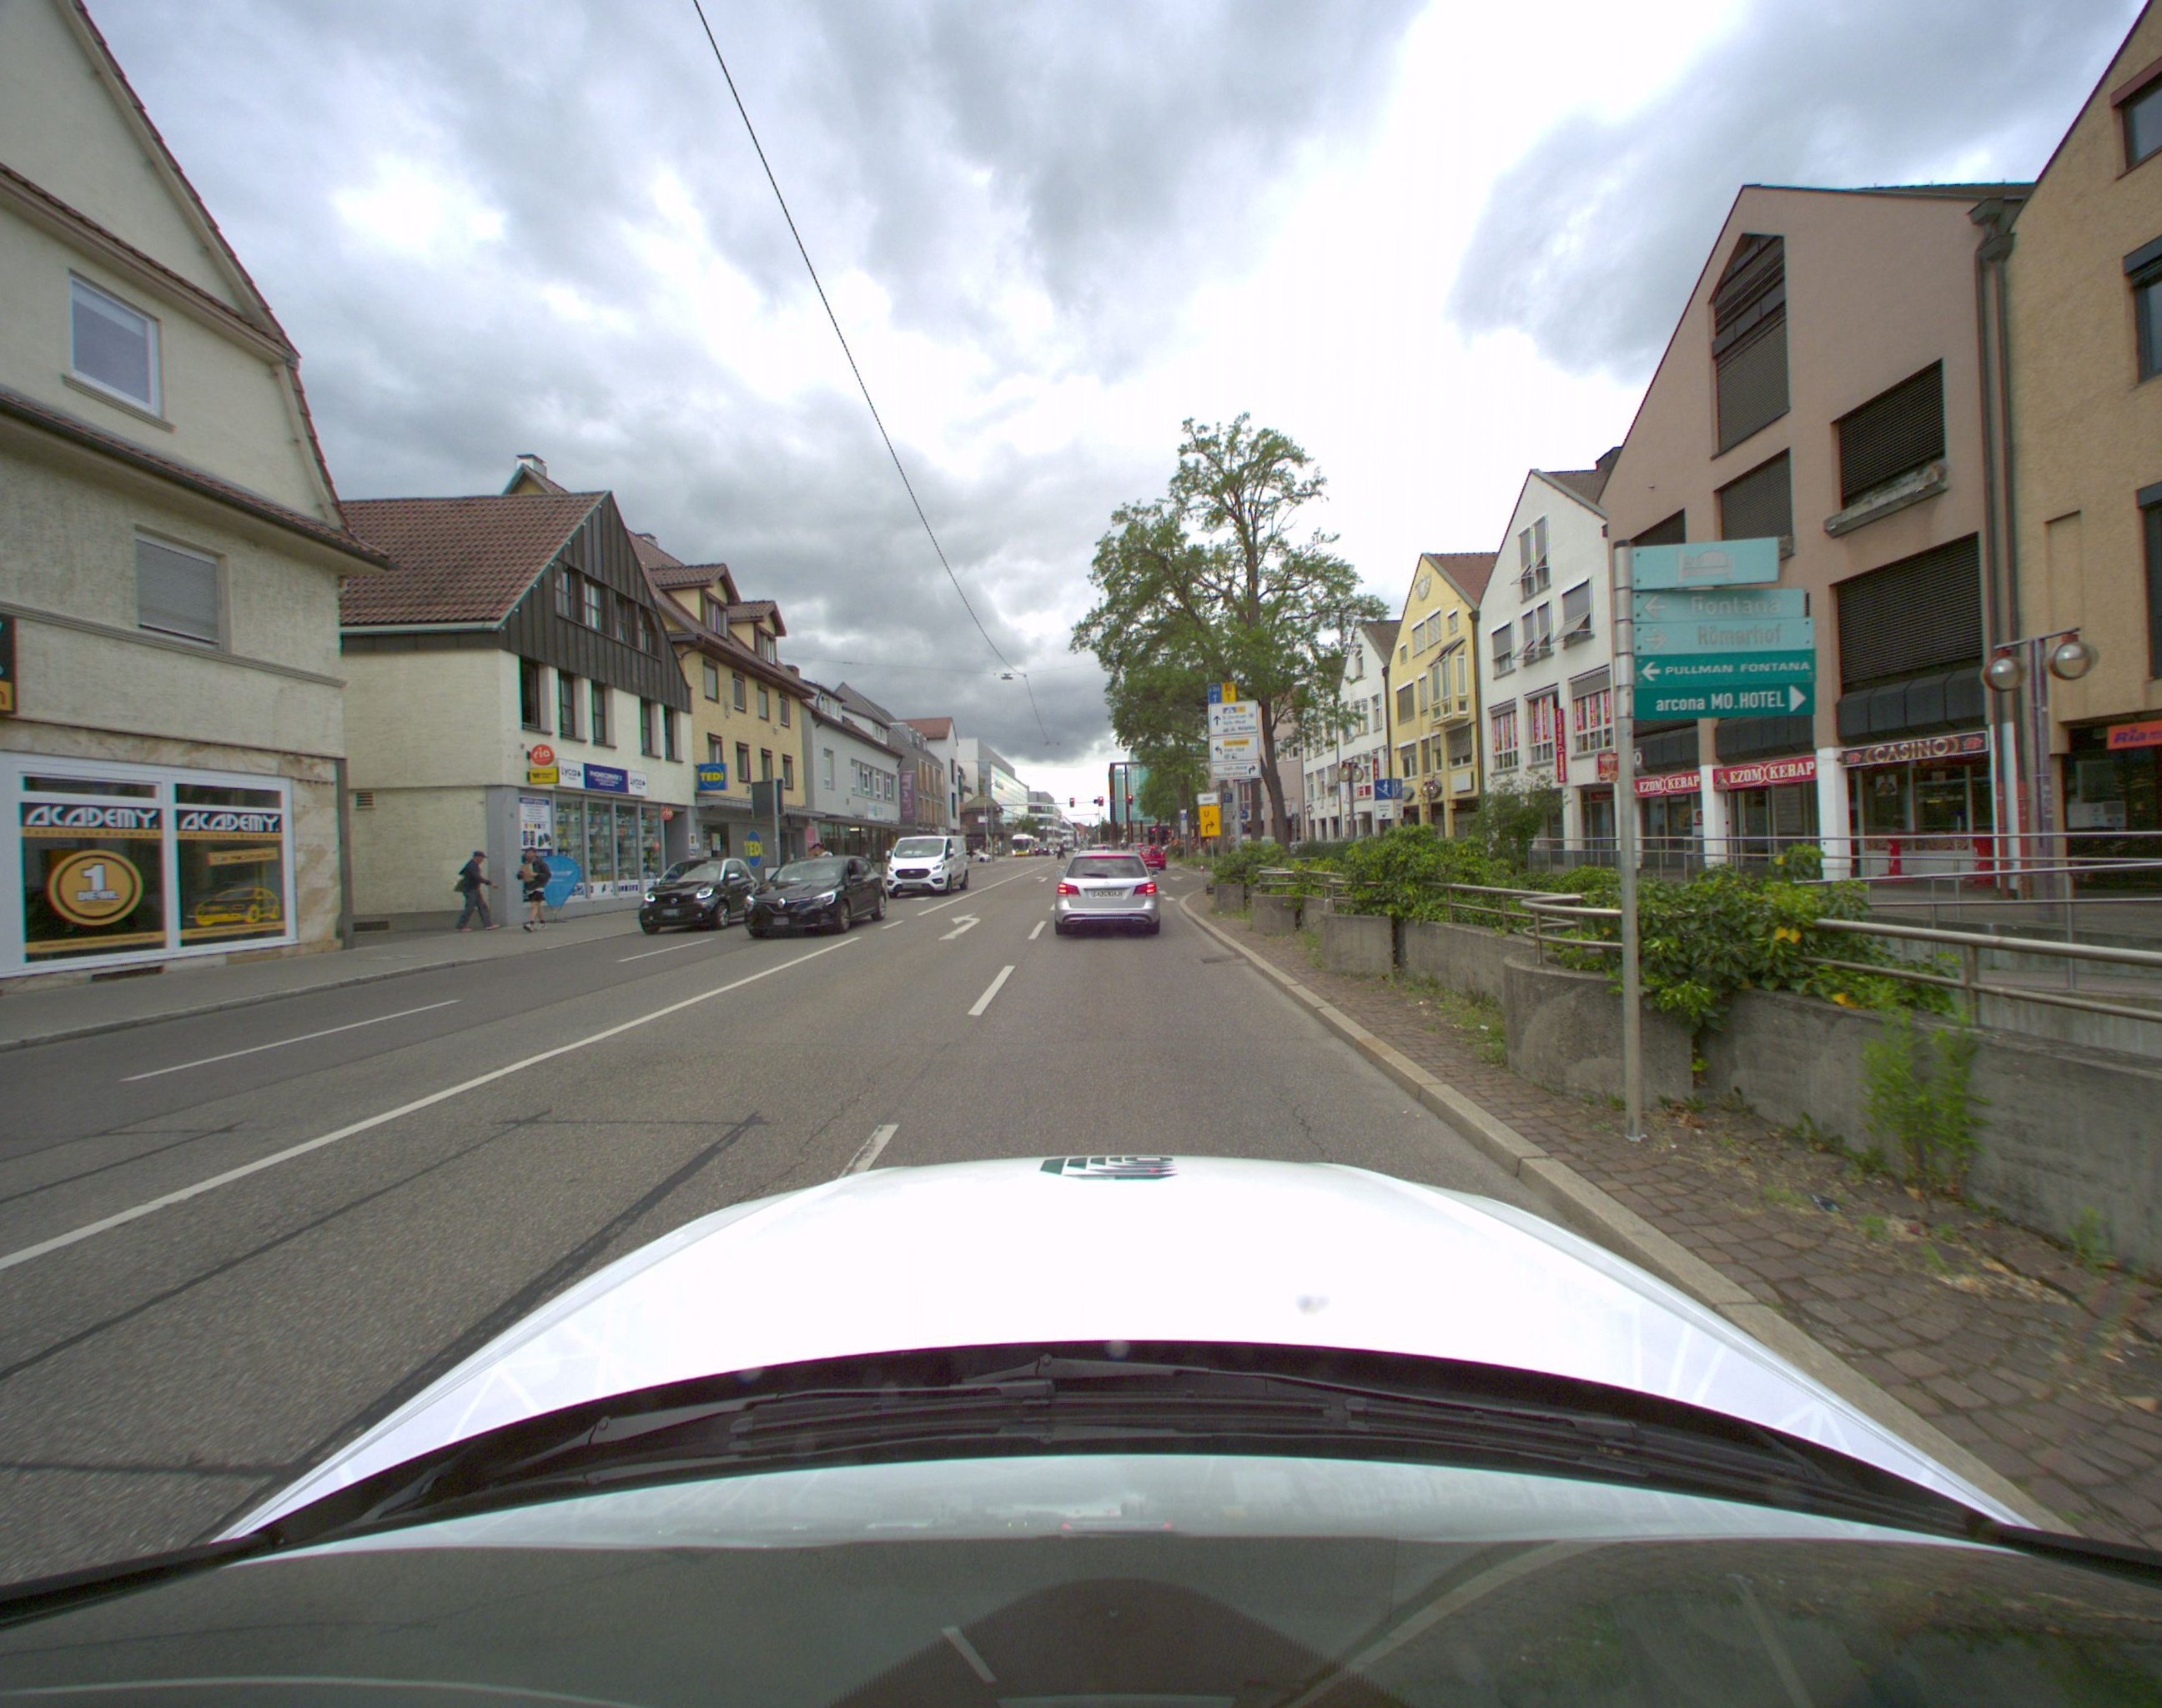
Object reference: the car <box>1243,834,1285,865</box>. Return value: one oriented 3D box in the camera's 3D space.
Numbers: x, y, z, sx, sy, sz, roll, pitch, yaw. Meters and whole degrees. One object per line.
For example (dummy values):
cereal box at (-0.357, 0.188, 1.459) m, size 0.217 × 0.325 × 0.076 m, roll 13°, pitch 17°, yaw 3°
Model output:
car at (11.592, -0.299, 51.857) m, size 1.860 × 1.864 × 4.002 m, roll -2°, pitch 1°, yaw 2°

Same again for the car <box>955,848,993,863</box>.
car at (-12.633, 0.189, 96.202) m, size 3.954 × 1.530 × 1.675 m, roll -2°, pitch 0°, yaw 19°

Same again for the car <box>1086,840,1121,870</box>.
car at (1.355, 0.050, 49.018) m, size 1.986 × 1.684 × 4.002 m, roll -2°, pitch 1°, yaw 2°

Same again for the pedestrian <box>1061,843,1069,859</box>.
pedestrian at (-1.672, -0.282, 85.391) m, size 0.854 × 1.634 × 0.588 m, roll 1°, pitch 1°, yaw 3°

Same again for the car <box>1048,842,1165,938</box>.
car at (0.403, 0.578, 15.245) m, size 1.868 × 1.506 × 3.999 m, roll -2°, pitch 0°, yaw -1°

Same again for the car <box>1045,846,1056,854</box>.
car at (-5.023, -0.729, 135.239) m, size 1.569 × 1.244 × 3.608 m, roll -2°, pitch 1°, yaw 2°

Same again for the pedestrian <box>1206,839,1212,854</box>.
pedestrian at (14.821, -0.874, 94.441) m, size 0.608 × 1.634 × 0.590 m, roll 1°, pitch 1°, yaw 14°

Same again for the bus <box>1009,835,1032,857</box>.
bus at (-9.199, -1.277, 124.257) m, size 2.765 × 3.165 × 5.935 m, roll -2°, pitch 1°, yaw 2°

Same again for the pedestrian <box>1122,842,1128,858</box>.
pedestrian at (4.537, -0.440, 84.103) m, size 0.611 × 1.634 × 0.587 m, roll 1°, pitch 1°, yaw -2°

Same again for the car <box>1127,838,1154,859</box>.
car at (4.973, -0.457, 68.442) m, size 1.986 × 1.684 × 4.002 m, roll -2°, pitch 1°, yaw 2°

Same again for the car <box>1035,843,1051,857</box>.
car at (-5.674, -0.658, 123.103) m, size 1.986 × 2.013 × 4.002 m, roll -2°, pitch 1°, yaw 2°

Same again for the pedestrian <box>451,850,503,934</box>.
pedestrian at (-12.999, 0.792, 17.561) m, size 0.809 × 1.746 × 0.861 m, roll 0°, pitch 1°, yaw -31°

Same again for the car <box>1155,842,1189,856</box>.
car at (11.225, -0.657, 100.574) m, size 4.084 × 1.541 × 1.581 m, roll -2°, pitch 0°, yaw 2°

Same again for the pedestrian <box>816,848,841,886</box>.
pedestrian at (-11.122, 0.547, 35.925) m, size 0.815 × 1.634 × 0.979 m, roll 0°, pitch 0°, yaw -4°

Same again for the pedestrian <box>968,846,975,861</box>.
pedestrian at (-11.715, -0.066, 87.096) m, size 0.586 × 1.669 × 0.639 m, roll 1°, pitch 1°, yaw -12°

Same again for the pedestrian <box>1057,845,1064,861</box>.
pedestrian at (-2.129, -0.141, 83.557) m, size 0.612 × 1.634 × 0.586 m, roll 1°, pitch 1°, yaw -8°

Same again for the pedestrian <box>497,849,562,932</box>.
pedestrian at (-11.871, 0.765, 17.552) m, size 0.865 × 1.746 × 0.805 m, roll 1°, pitch 1°, yaw -4°

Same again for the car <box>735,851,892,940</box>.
car at (-5.040, 0.703, 15.914) m, size 1.611 × 1.428 × 3.924 m, roll -3°, pitch 1°, yaw 1°

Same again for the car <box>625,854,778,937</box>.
car at (-8.289, 0.832, 18.133) m, size 1.611 × 1.523 × 3.509 m, roll -3°, pitch 1°, yaw 1°

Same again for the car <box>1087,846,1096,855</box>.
car at (2.352, -0.816, 180.383) m, size 1.986 × 2.013 × 4.001 m, roll -2°, pitch 1°, yaw 1°

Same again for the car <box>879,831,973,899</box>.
car at (-5.103, 0.323, 27.606) m, size 1.954 × 1.960 × 5.141 m, roll -4°, pitch 0°, yaw 1°

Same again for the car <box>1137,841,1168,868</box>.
car at (4.416, 0.016, 50.600) m, size 1.747 × 1.521 × 4.004 m, roll -3°, pitch 0°, yaw 4°
